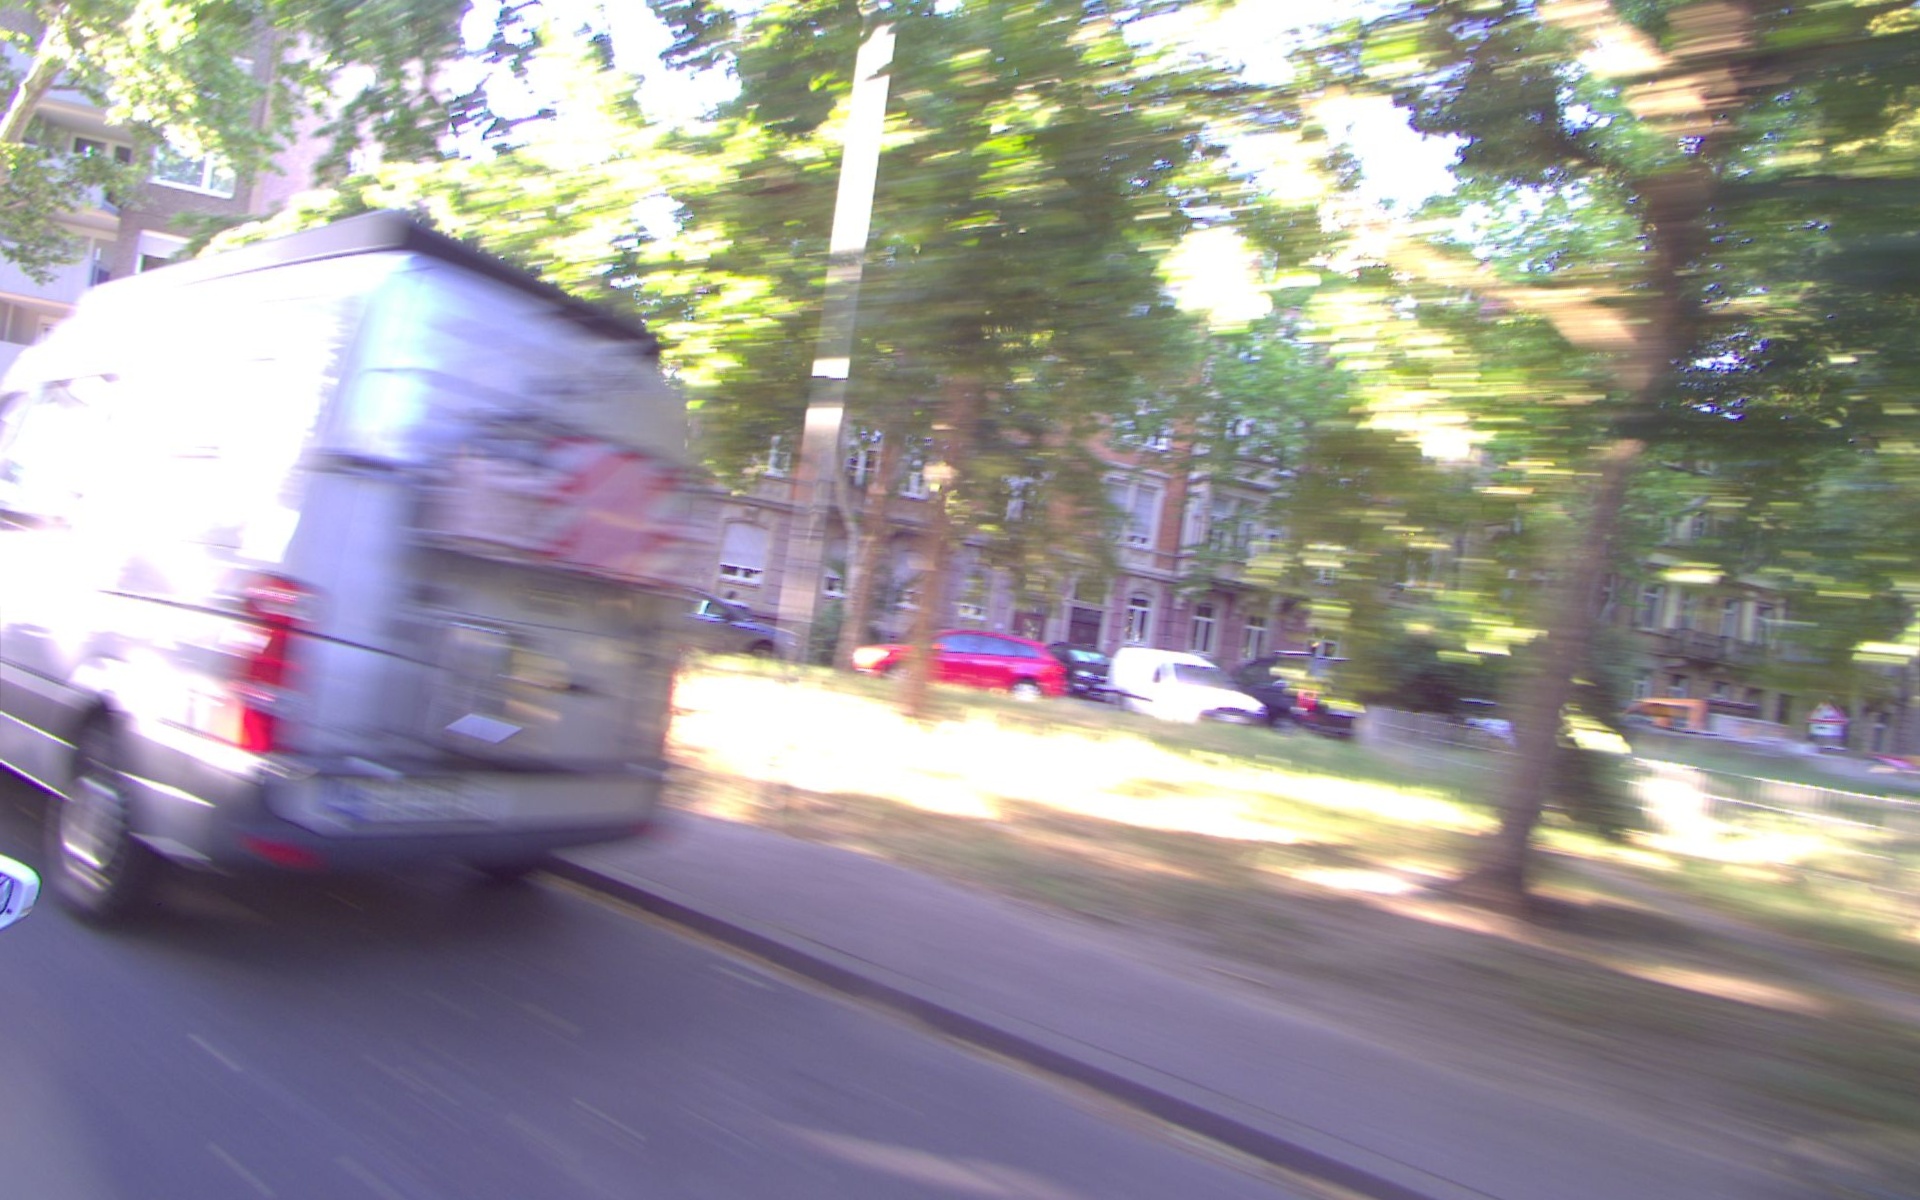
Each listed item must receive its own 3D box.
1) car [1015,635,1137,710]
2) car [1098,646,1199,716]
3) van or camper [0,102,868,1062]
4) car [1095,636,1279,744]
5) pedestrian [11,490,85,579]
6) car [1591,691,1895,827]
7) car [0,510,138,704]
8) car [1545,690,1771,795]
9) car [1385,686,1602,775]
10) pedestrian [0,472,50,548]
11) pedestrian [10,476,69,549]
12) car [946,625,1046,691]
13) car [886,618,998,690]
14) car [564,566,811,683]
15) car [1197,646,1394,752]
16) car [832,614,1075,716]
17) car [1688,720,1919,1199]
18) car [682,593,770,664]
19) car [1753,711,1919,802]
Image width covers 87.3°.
[{"bbox_3d":[3.521,2.195,31.451,1.712,1.650,4.462,9,0,-21],"label":"car"},{"bbox_3d":[6.025,2.553,32.757,1.705,1.650,4.478,9,0,-8],"label":"car"},{"bbox_3d":[-3.568,-0.239,5.330,5.749,2.793,2.088,7,-2,32],"label":"van or camper"},{"bbox_3d":[4.433,1.784,20.402,1.707,1.724,4.399,9,-6,-13],"label":"car"},{"bbox_3d":[-18.337,-1.319,20.234,0.705,1.626,0.812,7,-1,36],"label":"pedestrian"},{"bbox_3d":[19.182,3.808,25.071,2.337,2.482,5.494,8,-3,-17],"label":"car"},{"bbox_3d":[-9.132,-0.155,8.955,3.811,1.461,1.684,7,-4,35],"label":"car"},{"bbox_3d":[16.702,3.363,24.314,1.971,1.803,3.987,8,-2,-17],"label":"car"},{"bbox_3d":[11.802,2.852,22.621,1.758,1.507,4.399,9,-6,-13],"label":"car"},{"bbox_3d":[-24.208,-2.314,25.940,0.625,1.794,0.685,8,-1,-7],"label":"pedestrian"},{"bbox_3d":[-23.383,-2.215,25.565,0.633,1.712,0.685,8,-1,-7],"label":"pedestrian"},{"bbox_3d":[1.061,1.767,31.449,1.629,1.614,3.631,8,-2,-21],"label":"car"},{"bbox_3d":[-0.600,1.541,29.731,1.885,1.636,3.758,9,-2,-23],"label":"car"},{"bbox_3d":[-5.127,0.531,19.285,4.209,1.567,1.741,9,-5,-13],"label":"car"},{"bbox_3d":[6.929,2.043,21.332,1.758,1.794,4.399,9,-6,-13],"label":"car"},{"bbox_3d":[-0.156,1.344,20.715,4.576,1.465,1.740,8,-3,-16],"label":"car"},{"bbox_3d":[3.333,1.224,0.672,4.415,1.543,1.684,7,-2,32],"label":"car"},{"bbox_3d":[-6.616,0.752,28.203,1.712,1.490,3.980,9,0,-21],"label":"car"},{"bbox_3d":[23.635,4.113,26.310,1.971,1.803,3.987,8,-2,-17],"label":"car"}]
